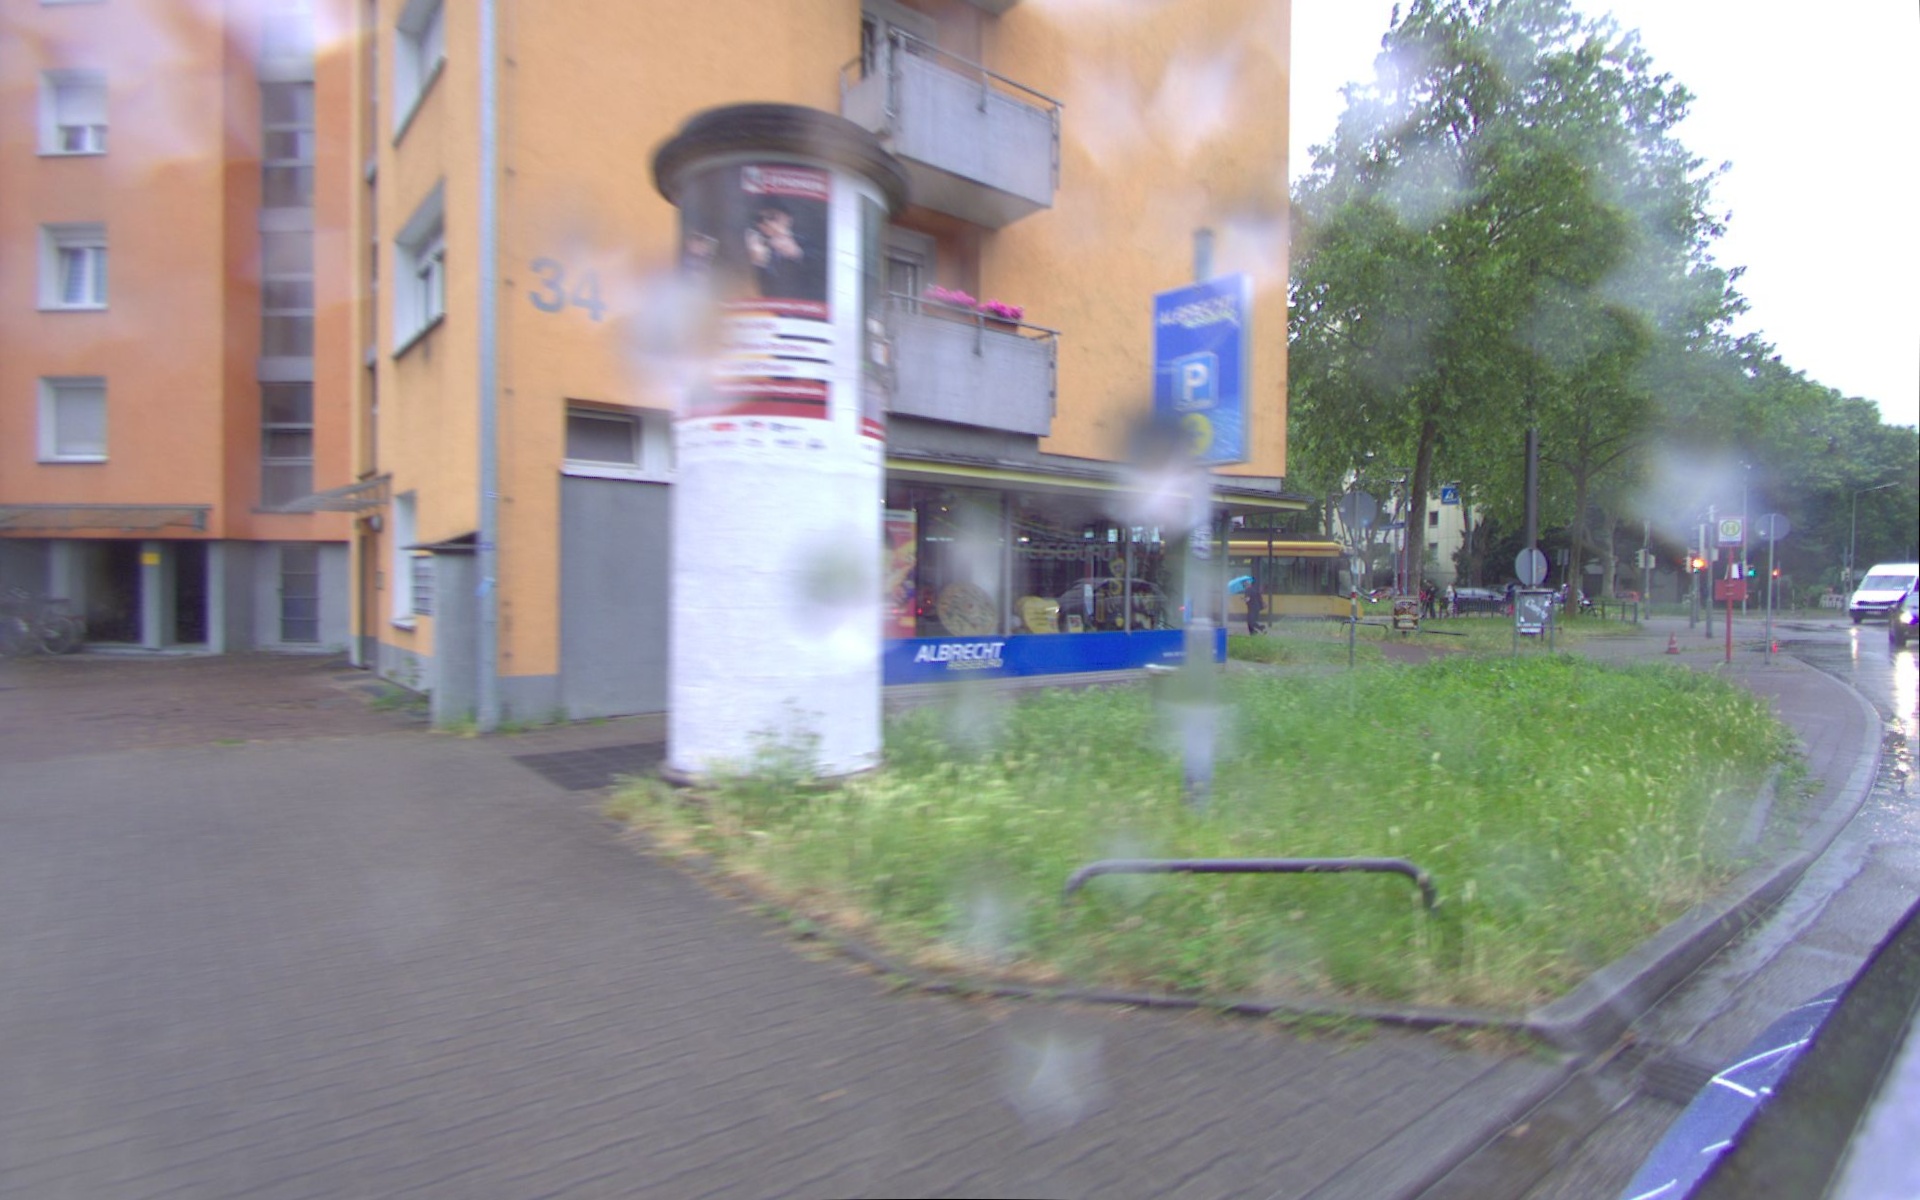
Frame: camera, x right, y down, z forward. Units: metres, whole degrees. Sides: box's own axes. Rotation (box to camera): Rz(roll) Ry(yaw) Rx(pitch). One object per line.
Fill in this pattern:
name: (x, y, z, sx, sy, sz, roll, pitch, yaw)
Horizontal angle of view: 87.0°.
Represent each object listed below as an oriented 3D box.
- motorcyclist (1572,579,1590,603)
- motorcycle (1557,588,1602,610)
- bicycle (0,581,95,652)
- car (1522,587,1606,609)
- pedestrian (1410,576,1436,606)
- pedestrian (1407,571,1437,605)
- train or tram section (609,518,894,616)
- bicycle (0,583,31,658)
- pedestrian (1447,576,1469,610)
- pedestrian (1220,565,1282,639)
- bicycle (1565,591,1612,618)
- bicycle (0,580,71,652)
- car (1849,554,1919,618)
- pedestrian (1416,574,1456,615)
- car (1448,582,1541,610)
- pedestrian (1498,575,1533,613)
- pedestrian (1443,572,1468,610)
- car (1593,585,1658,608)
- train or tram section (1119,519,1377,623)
motorcyclist: (35.855, -0.501, 58.442, 0.752, 1.368, 0.746, 0, 0, 44)
motorcycle: (35.809, -0.077, 58.490, 2.068, 1.230, 0.867, 0, 0, 45)
bicycle: (-16.988, 0.283, 18.216, 2.265, 1.239, 0.646, 0, 0, -1)
car: (36.588, -0.129, 61.340, 4.153, 1.291, 1.876, 0, 0, 40)
pedestrian: (22.239, -0.421, 48.636, 0.996, 1.399, 0.670, 1, 1, 15)
pedestrian: (21.897, -0.574, 47.949, 1.048, 1.544, 0.876, 2, 1, 11)
train or tram section: (-7.427, -1.149, 36.715, 9.809, 3.394, 2.643, 0, 0, 5)
bicycle: (-16.991, 0.335, 16.941, 2.265, 1.239, 0.646, 0, 0, -1)
pedestrian: (23.383, -0.316, 47.520, 0.751, 1.567, 0.689, 1, 1, 17)
pedestrian: (7.663, 0.041, 26.611, 1.372, 1.888, 1.163, 1, 0, 28)
bicycle: (25.945, 0.173, 41.781, 1.602, 1.090, 0.442, 0, 0, 26)
bicycle: (-16.935, 0.265, 17.644, 2.265, 1.239, 0.646, 0, 0, -1)
car: (41.495, -0.585, 43.783, 6.377, 2.594, 2.288, 0, 0, -26)
pedestrian: (21.359, -0.241, 45.419, 1.016, 1.811, 1.239, 0, 0, -18)
car: (28.982, -0.245, 54.918, 4.161, 1.479, 1.964, 1, 0, 42)
pedestrian: (25.634, -0.280, 46.708, 0.976, 1.707, 1.058, 1, 1, -27)
pedestrian: (23.612, -0.437, 48.242, 0.983, 1.803, 0.806, 1, 1, 23)
car: (45.784, -0.271, 69.660, 1.811, 1.544, 3.453, 0, 0, -43)
train or tram section: (9.780, -0.979, 35.124, 8.229, 3.412, 2.642, 0, 0, 6)
